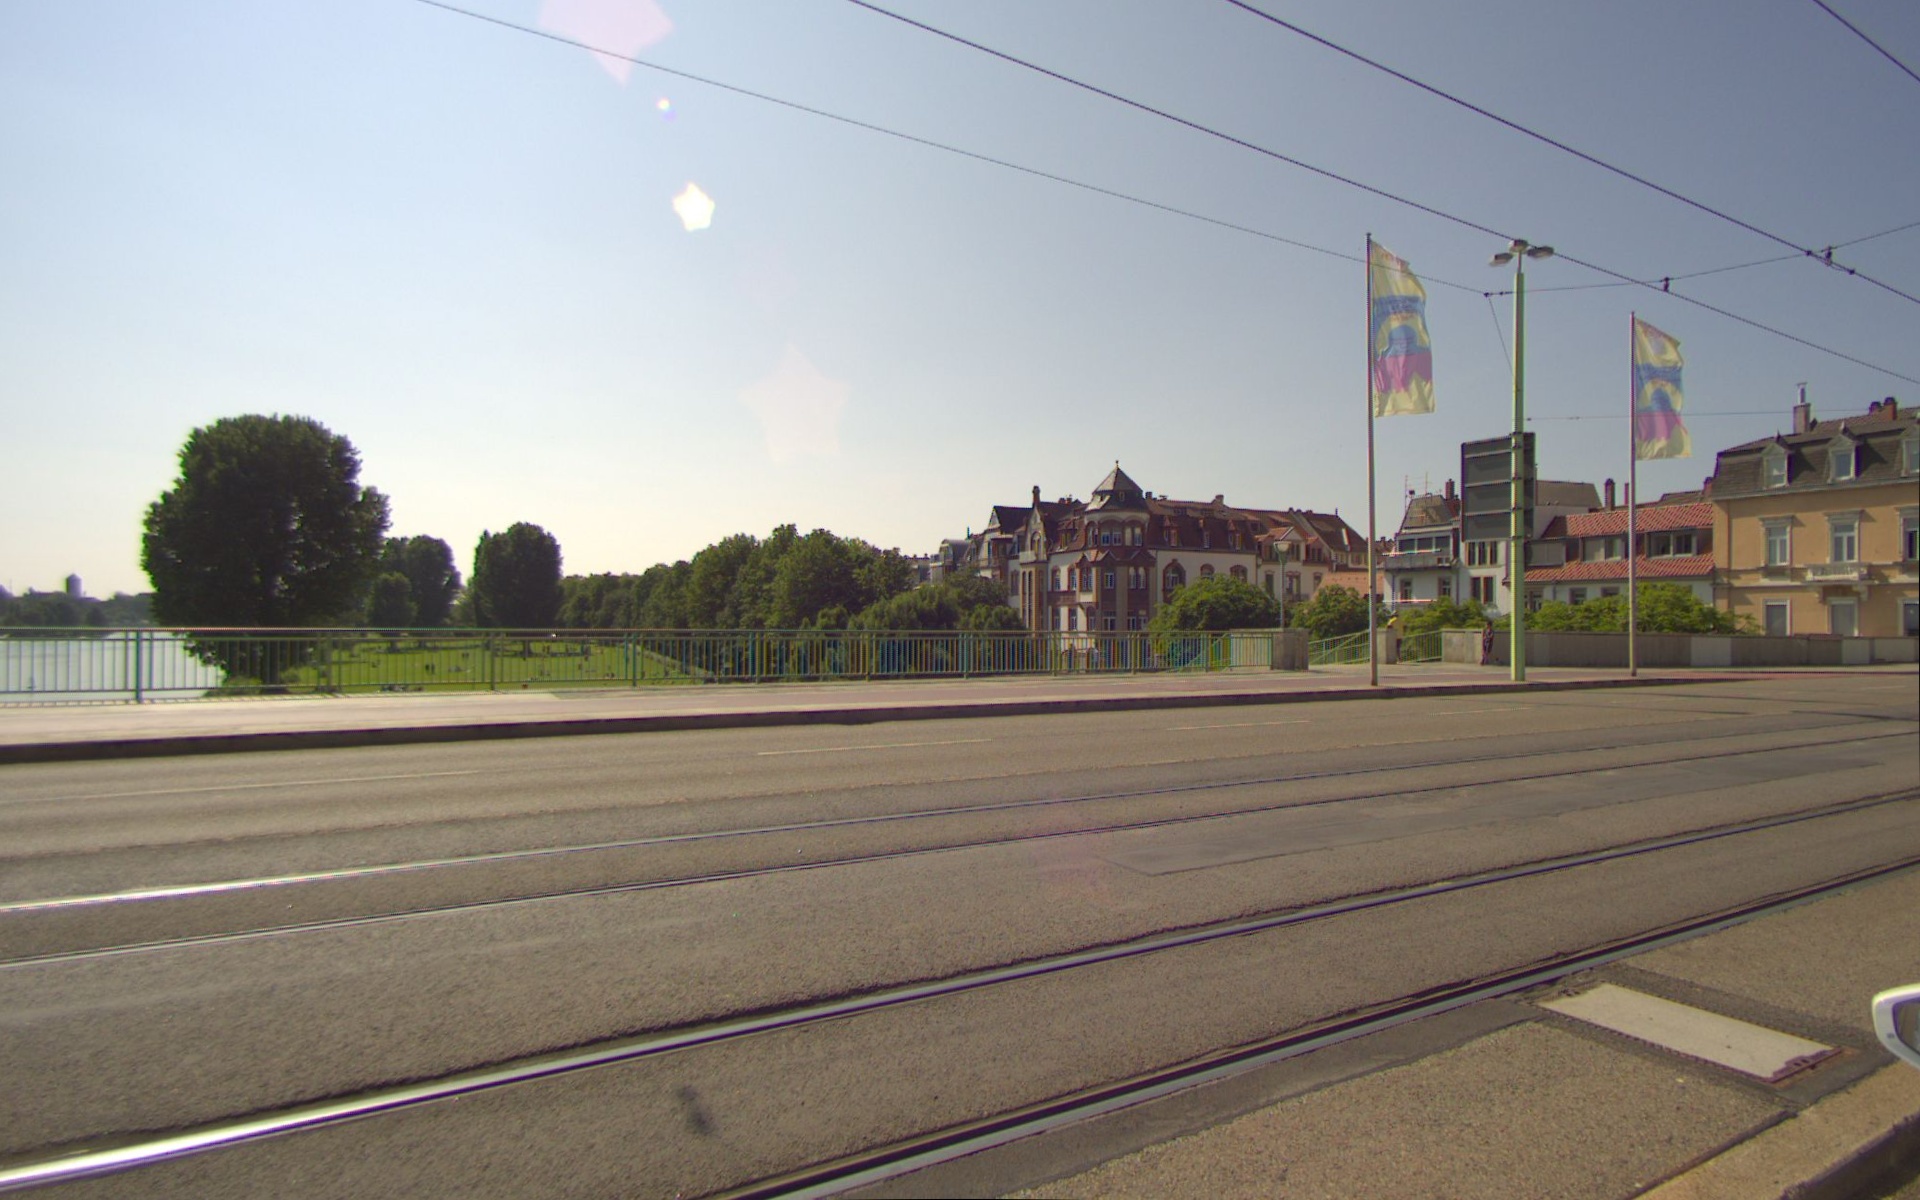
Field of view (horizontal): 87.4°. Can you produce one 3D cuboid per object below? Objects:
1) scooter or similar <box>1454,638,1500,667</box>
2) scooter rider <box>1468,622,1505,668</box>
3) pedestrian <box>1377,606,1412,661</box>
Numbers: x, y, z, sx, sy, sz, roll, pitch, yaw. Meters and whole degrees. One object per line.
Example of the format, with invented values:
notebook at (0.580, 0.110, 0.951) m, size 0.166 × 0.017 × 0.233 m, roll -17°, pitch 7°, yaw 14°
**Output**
scooter or similar at (16.097, 1.637, 31.278) m, size 0.945 × 0.793 × 0.779 m, roll 2°, pitch 3°, yaw -18°
scooter rider at (16.405, 1.393, 31.318) m, size 0.588 × 1.333 × 0.768 m, roll 2°, pitch 3°, yaw -18°
pedestrian at (14.532, 1.129, 33.580) m, size 0.791 × 1.804 × 0.743 m, roll 1°, pitch -2°, yaw -26°
